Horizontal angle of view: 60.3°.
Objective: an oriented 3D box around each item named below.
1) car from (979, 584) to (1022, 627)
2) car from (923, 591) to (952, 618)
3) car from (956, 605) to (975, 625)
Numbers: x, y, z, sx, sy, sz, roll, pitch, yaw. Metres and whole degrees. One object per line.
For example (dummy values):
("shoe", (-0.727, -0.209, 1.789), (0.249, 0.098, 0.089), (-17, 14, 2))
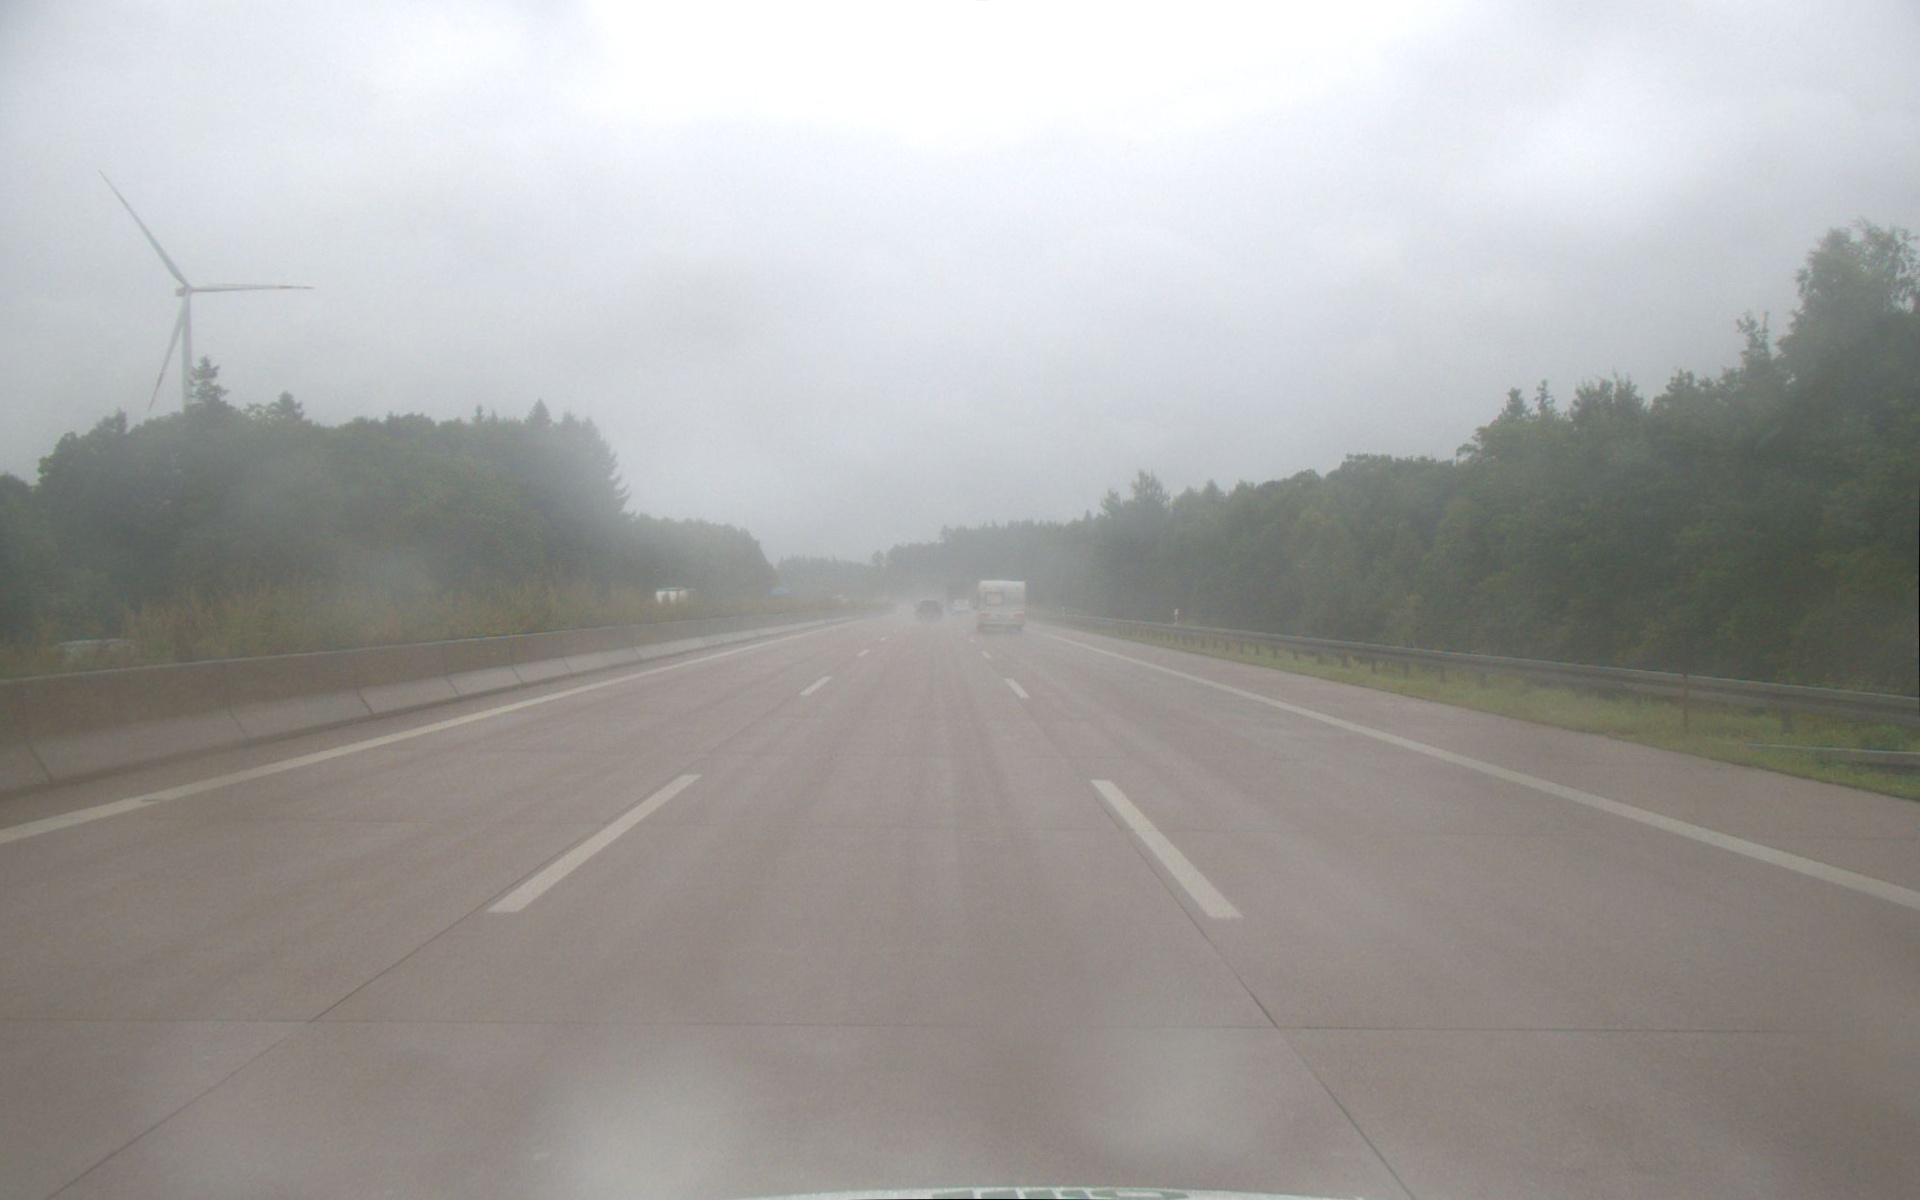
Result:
("car", (1.964, 0.236, 81.292), (2.016, 2.035, 4.098), (1, 0, 0))
("car", (-1.557, 0.296, 113.933), (1.897, 1.760, 4.130), (1, 0, 0))
("car", (0.578, 1.581, 171.692), (1.897, 2.016, 4.130), (1, 0, 0))
